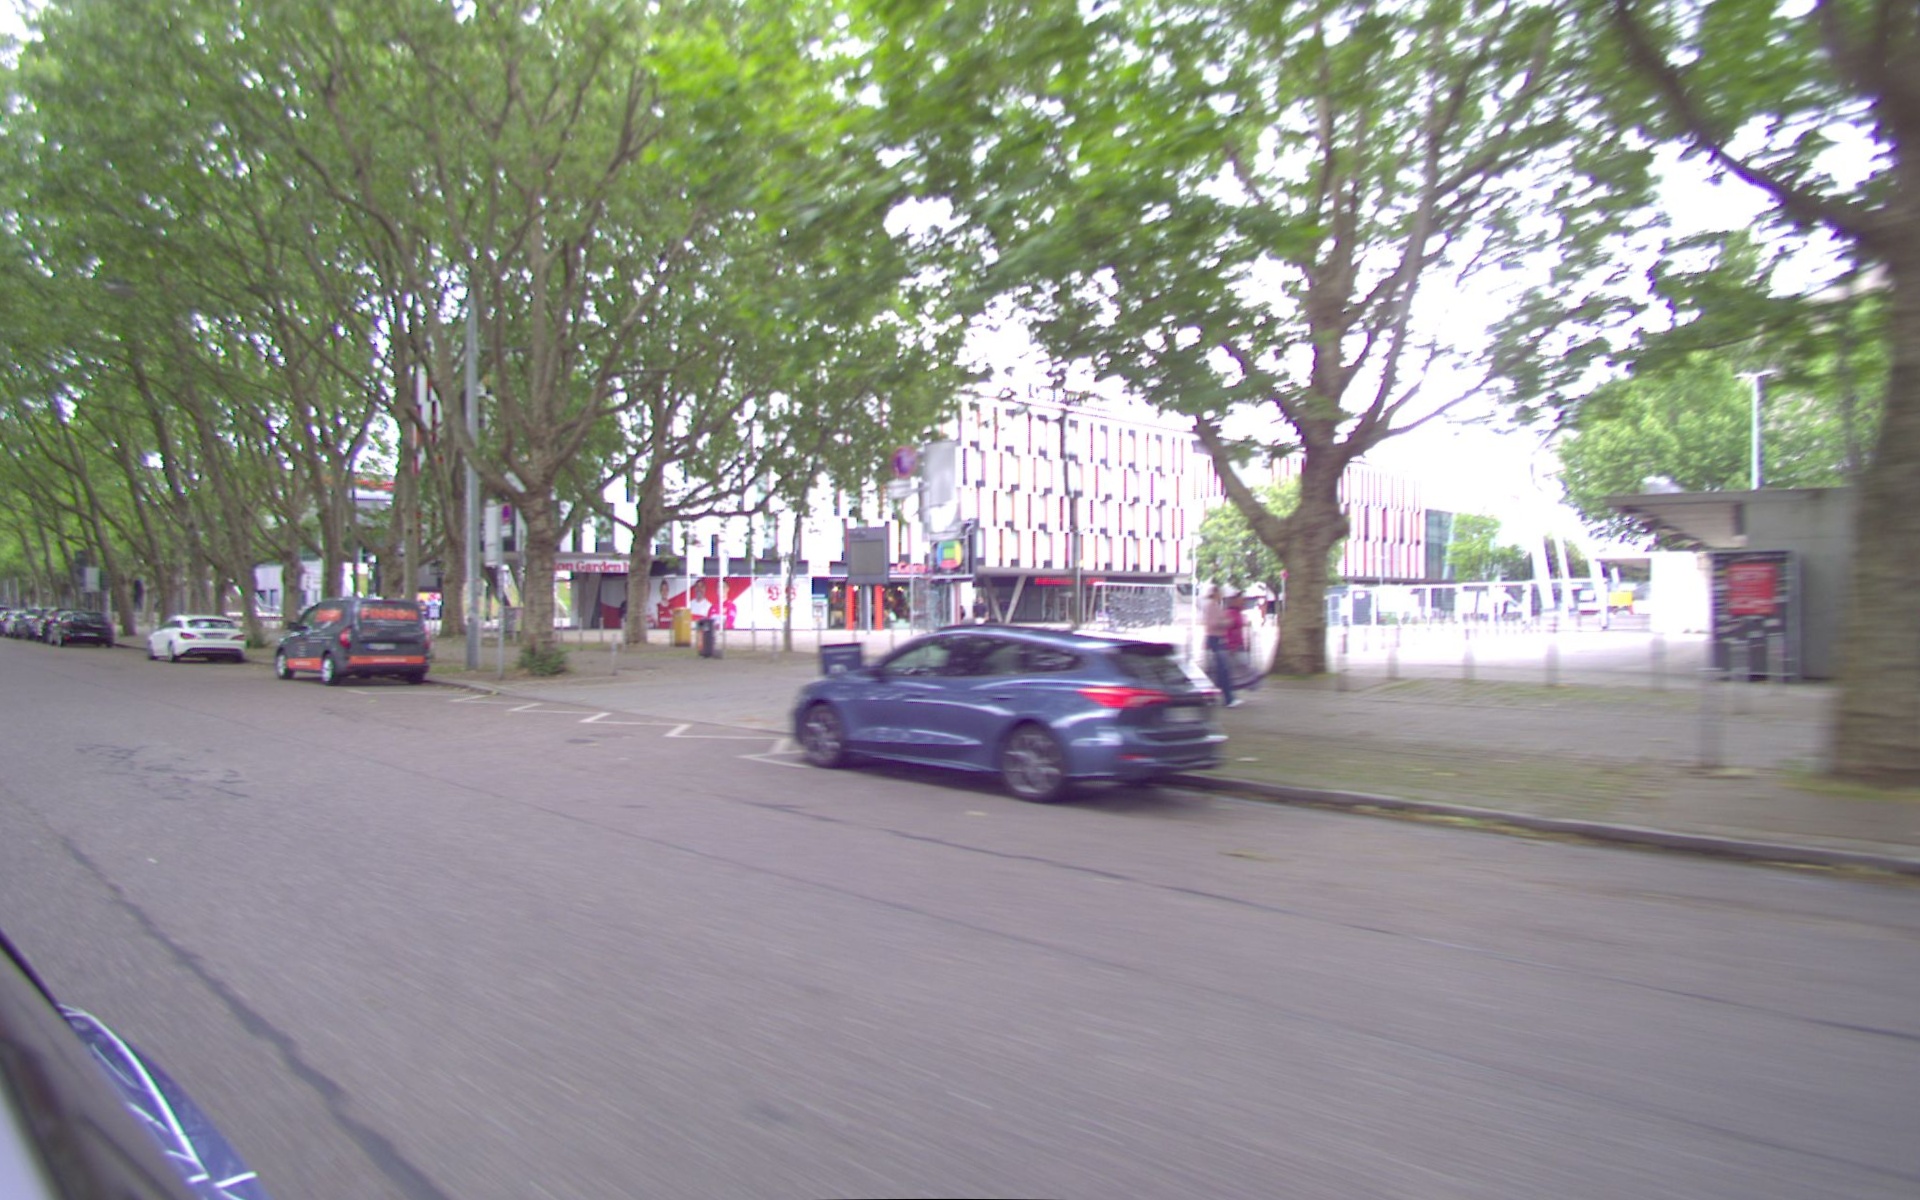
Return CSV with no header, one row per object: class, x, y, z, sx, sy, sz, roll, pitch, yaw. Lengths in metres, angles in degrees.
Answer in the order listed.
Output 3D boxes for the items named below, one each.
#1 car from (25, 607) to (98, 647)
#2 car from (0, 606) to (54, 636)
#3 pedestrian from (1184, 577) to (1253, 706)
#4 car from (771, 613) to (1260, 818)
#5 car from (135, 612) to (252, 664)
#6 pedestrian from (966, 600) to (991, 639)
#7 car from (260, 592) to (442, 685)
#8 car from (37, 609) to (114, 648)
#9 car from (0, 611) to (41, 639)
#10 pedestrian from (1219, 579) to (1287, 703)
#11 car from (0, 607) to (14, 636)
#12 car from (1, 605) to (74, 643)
car,-41.016,1.236,46.153,4.927,1.655,1.916,-1,-4,43
car,-49.492,1.105,53.484,4.228,1.467,1.814,-1,-4,41
pedestrian,3.696,0.579,14.498,0.569,1.783,0.769,0,-1,-34
car,0.315,0.874,9.602,4.572,1.497,1.706,-1,-1,41
car,-23.378,1.131,30.804,4.749,1.413,1.884,-1,-4,41
pedestrian,0.818,0.848,44.438,0.809,1.704,0.716,-1,-1,45
car,-13.020,0.779,21.536,4.635,1.764,1.929,0,-2,41
car,-37.111,1.185,42.447,4.441,1.506,1.814,-1,-4,42
car,-53.500,1.415,57.007,5.144,1.541,2.061,-1,-3,43
pedestrian,4.277,0.579,14.796,0.567,1.755,0.769,0,-1,-34
car,-63.207,1.352,65.841,4.610,1.809,1.876,0,-4,41
car,-45.551,1.191,49.958,4.642,1.731,1.851,-1,-4,38
